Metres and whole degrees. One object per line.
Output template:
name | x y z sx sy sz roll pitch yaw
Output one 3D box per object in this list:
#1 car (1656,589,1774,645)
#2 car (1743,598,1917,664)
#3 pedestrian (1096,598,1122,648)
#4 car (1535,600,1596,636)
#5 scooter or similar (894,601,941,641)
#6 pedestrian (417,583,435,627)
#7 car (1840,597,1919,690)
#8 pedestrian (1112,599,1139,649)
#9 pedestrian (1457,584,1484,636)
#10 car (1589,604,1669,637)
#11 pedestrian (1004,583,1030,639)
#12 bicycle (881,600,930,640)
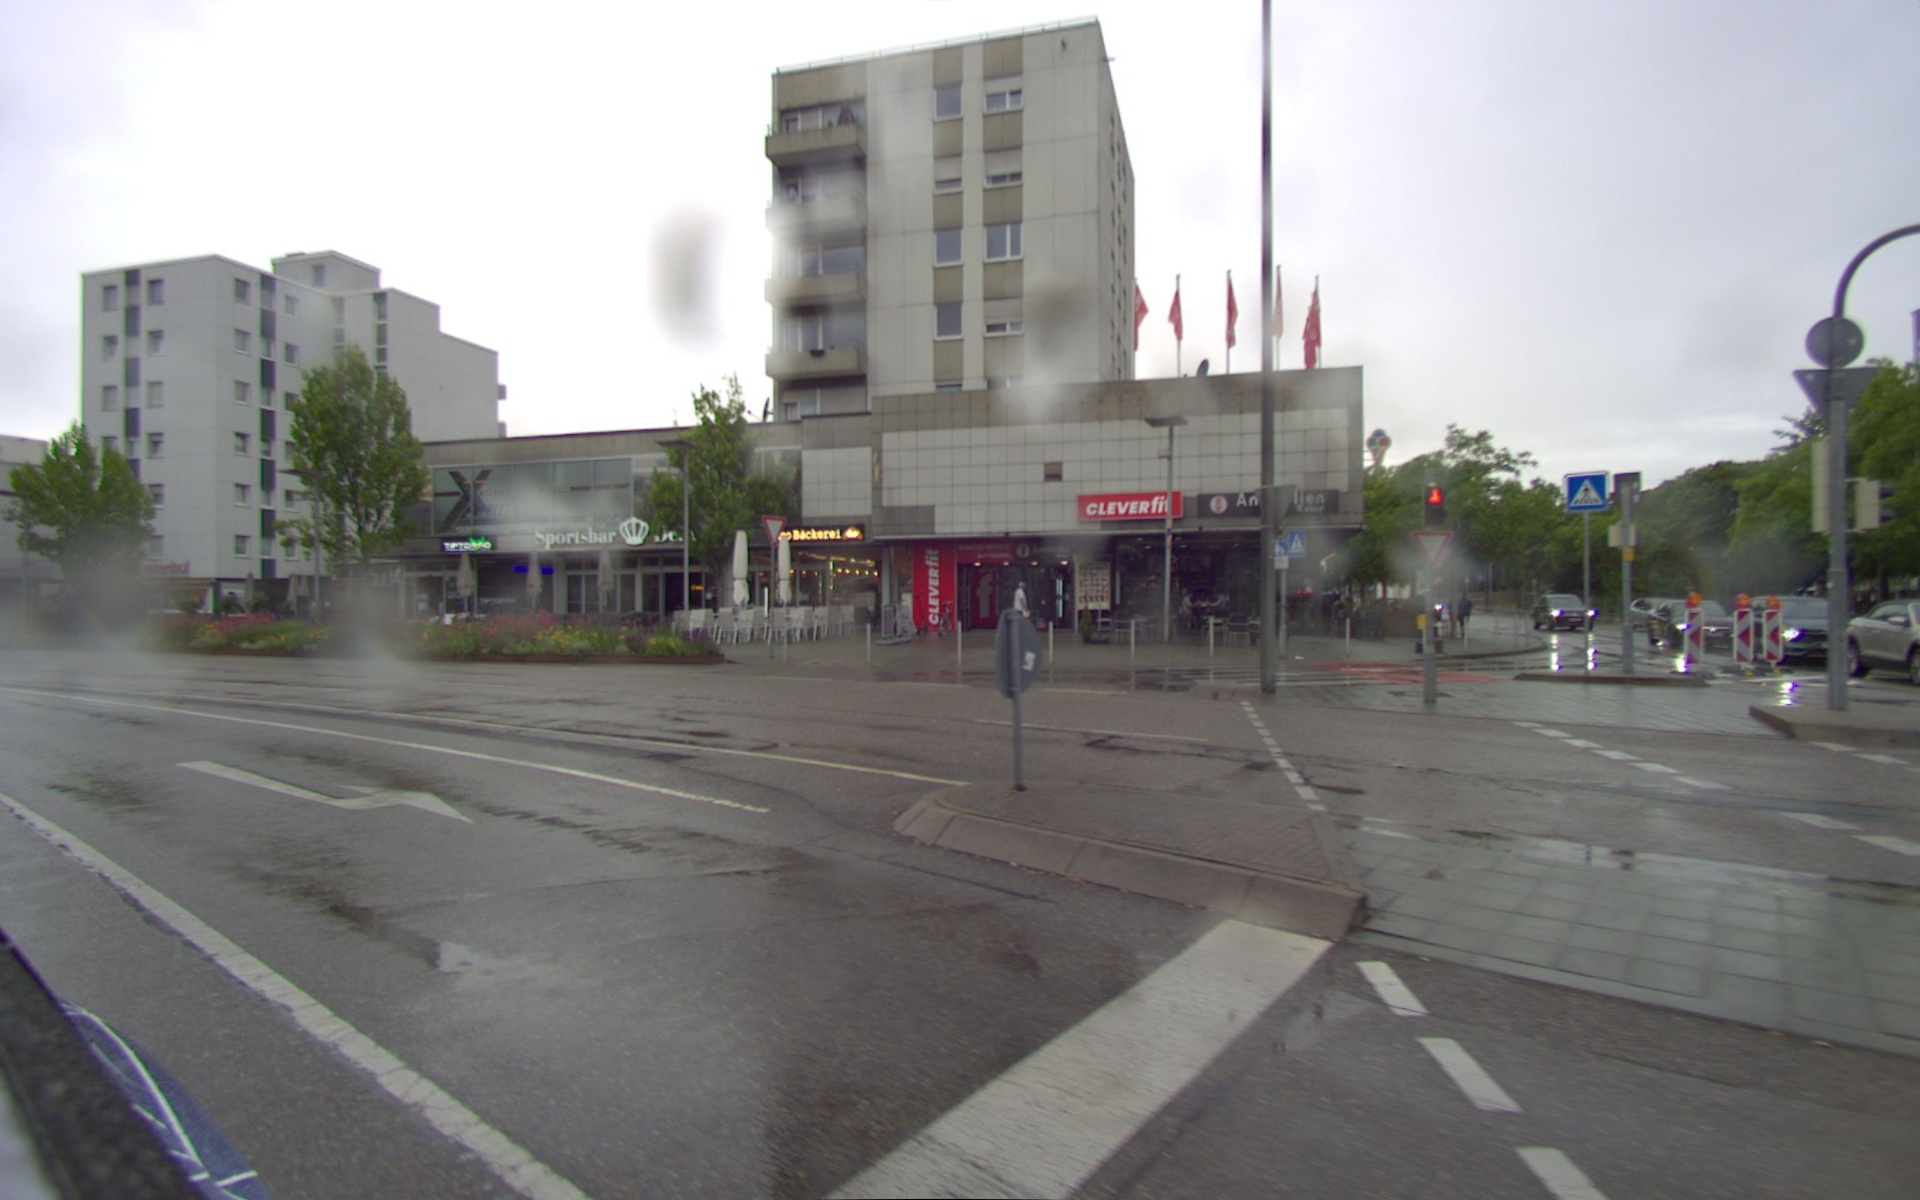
car | 23.038 0.499 31.045 1.857 1.607 3.972 -1 0 21
car | 20.539 0.668 24.107 1.857 1.431 4.030 0 0 21
pedestrian | 4.140 0.638 28.118 0.490 1.358 0.538 0 0 -41
car | 28.478 0.804 47.688 1.703 1.607 3.973 -1 0 20
scooter or similar | -1.296 0.634 31.544 0.637 1.183 2.578 -1 0 17
pedestrian | -22.449 0.206 42.556 0.498 1.862 0.423 -1 -1 26
car | 17.765 0.754 17.983 1.857 1.607 4.176 -1 -1 21
pedestrian | 4.522 0.649 27.660 0.489 1.358 0.538 0 -1 -39
pedestrian | 18.990 0.392 37.633 0.806 1.908 0.711 -1 -1 33
car | 30.122 0.916 45.693 1.756 1.431 4.040 0 -1 14
pedestrian | 1.764 0.338 31.255 0.708 1.706 0.654 -1 0 13
bicycle | -1.758 0.634 33.103 0.691 1.232 2.538 -1 0 18
